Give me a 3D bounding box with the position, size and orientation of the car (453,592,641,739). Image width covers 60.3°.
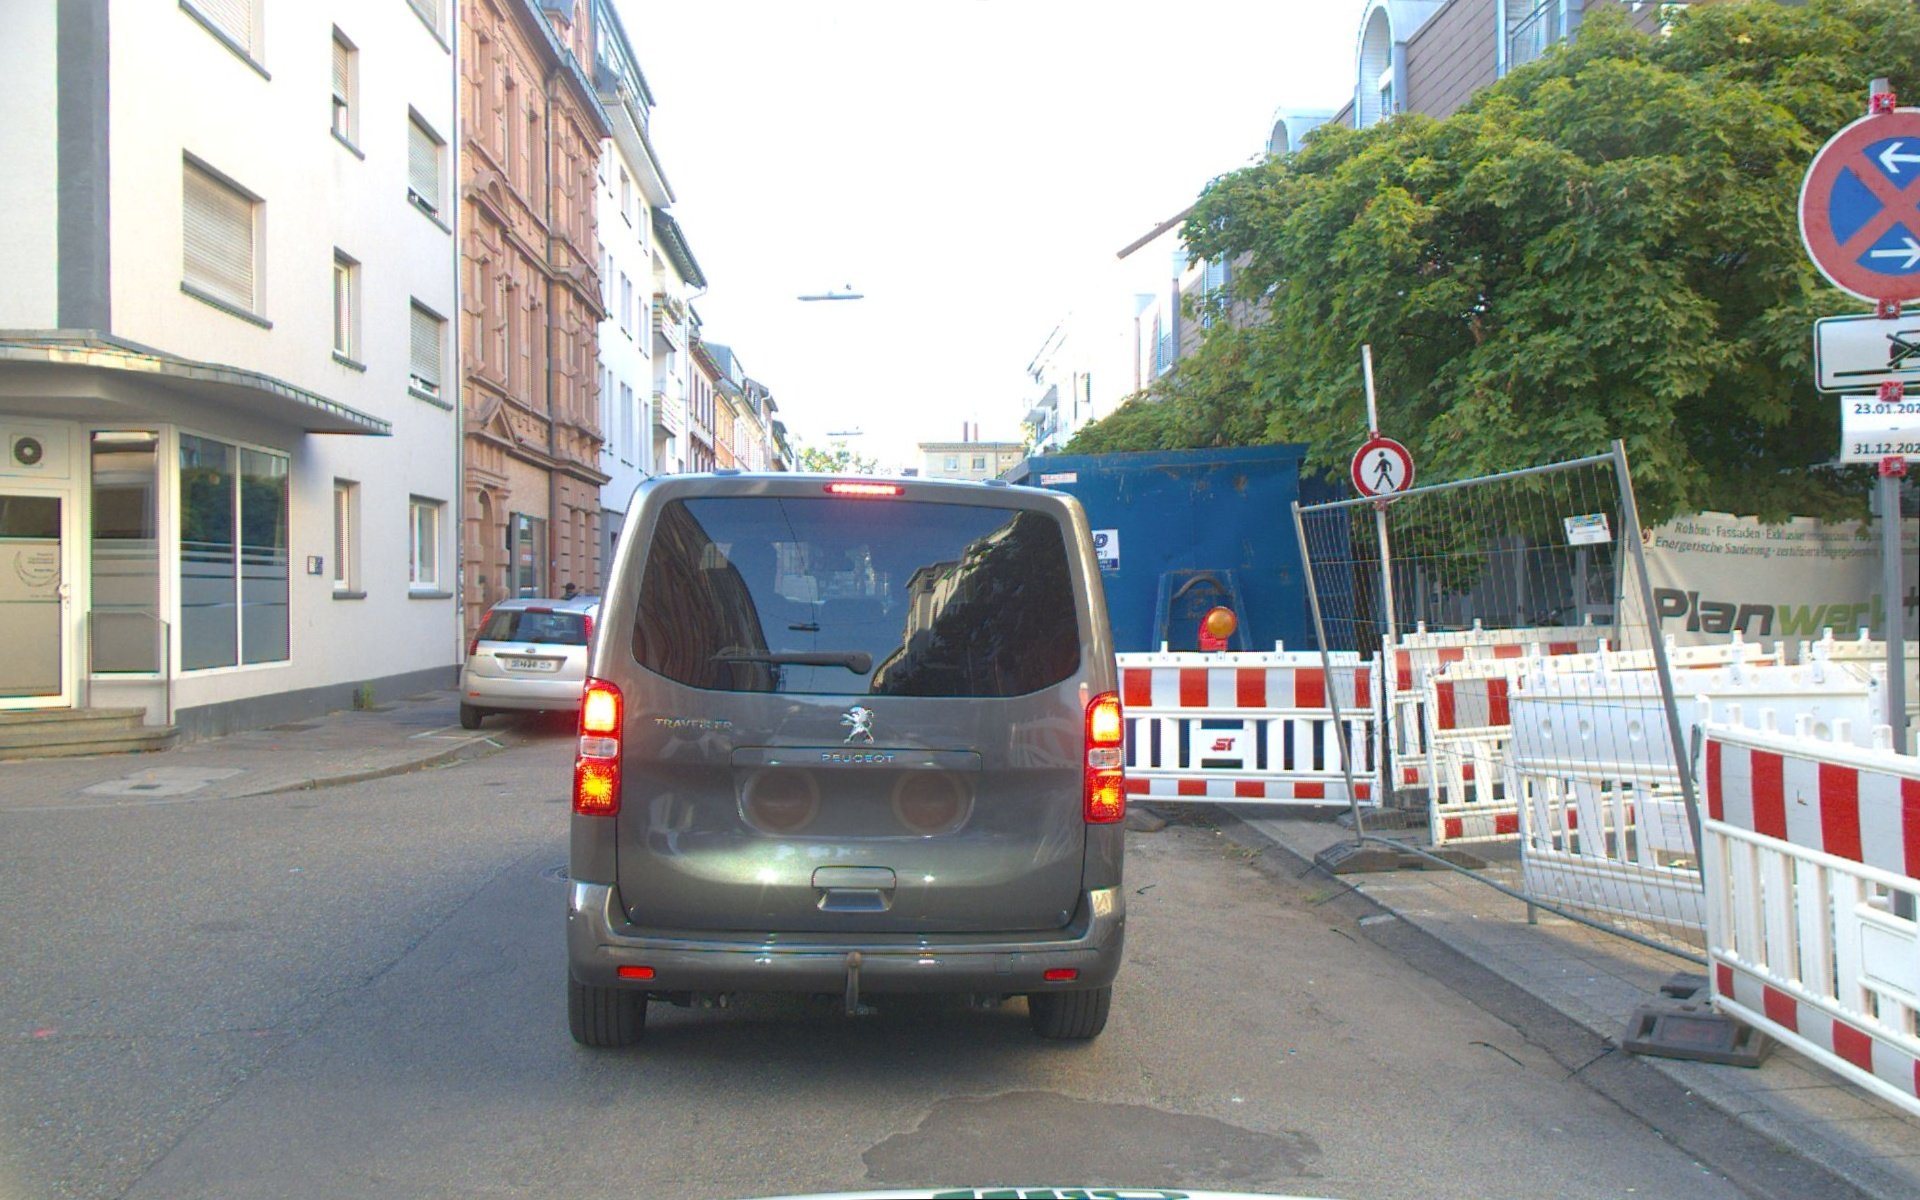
[{"bbox_3d":[-4.792,0.724,19.585,1.625,1.485,3.413,4,-1,-7],"label":"car"}]

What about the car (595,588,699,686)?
[{"bbox_3d":[-5.999,0.692,31.957,1.635,1.695,3.087,4,-1,-7],"label":"car"}]

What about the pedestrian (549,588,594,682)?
[{"bbox_3d":[-7.122,0.637,30.364,0.726,1.693,0.702,-1,0,-8],"label":"pedestrian"}]

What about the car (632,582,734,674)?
[{"bbox_3d":[-5.901,0.585,35.606,1.856,1.749,3.748,4,-1,-7],"label":"car"}]

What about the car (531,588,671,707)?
[{"bbox_3d":[-5.328,0.683,24.886,1.625,1.552,3.413,4,-1,-7],"label":"car"}]

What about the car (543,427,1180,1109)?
[{"bbox_3d":[-0.500,0.490,6.878,1.829,1.919,4.229,0,0,-7],"label":"car"}]
